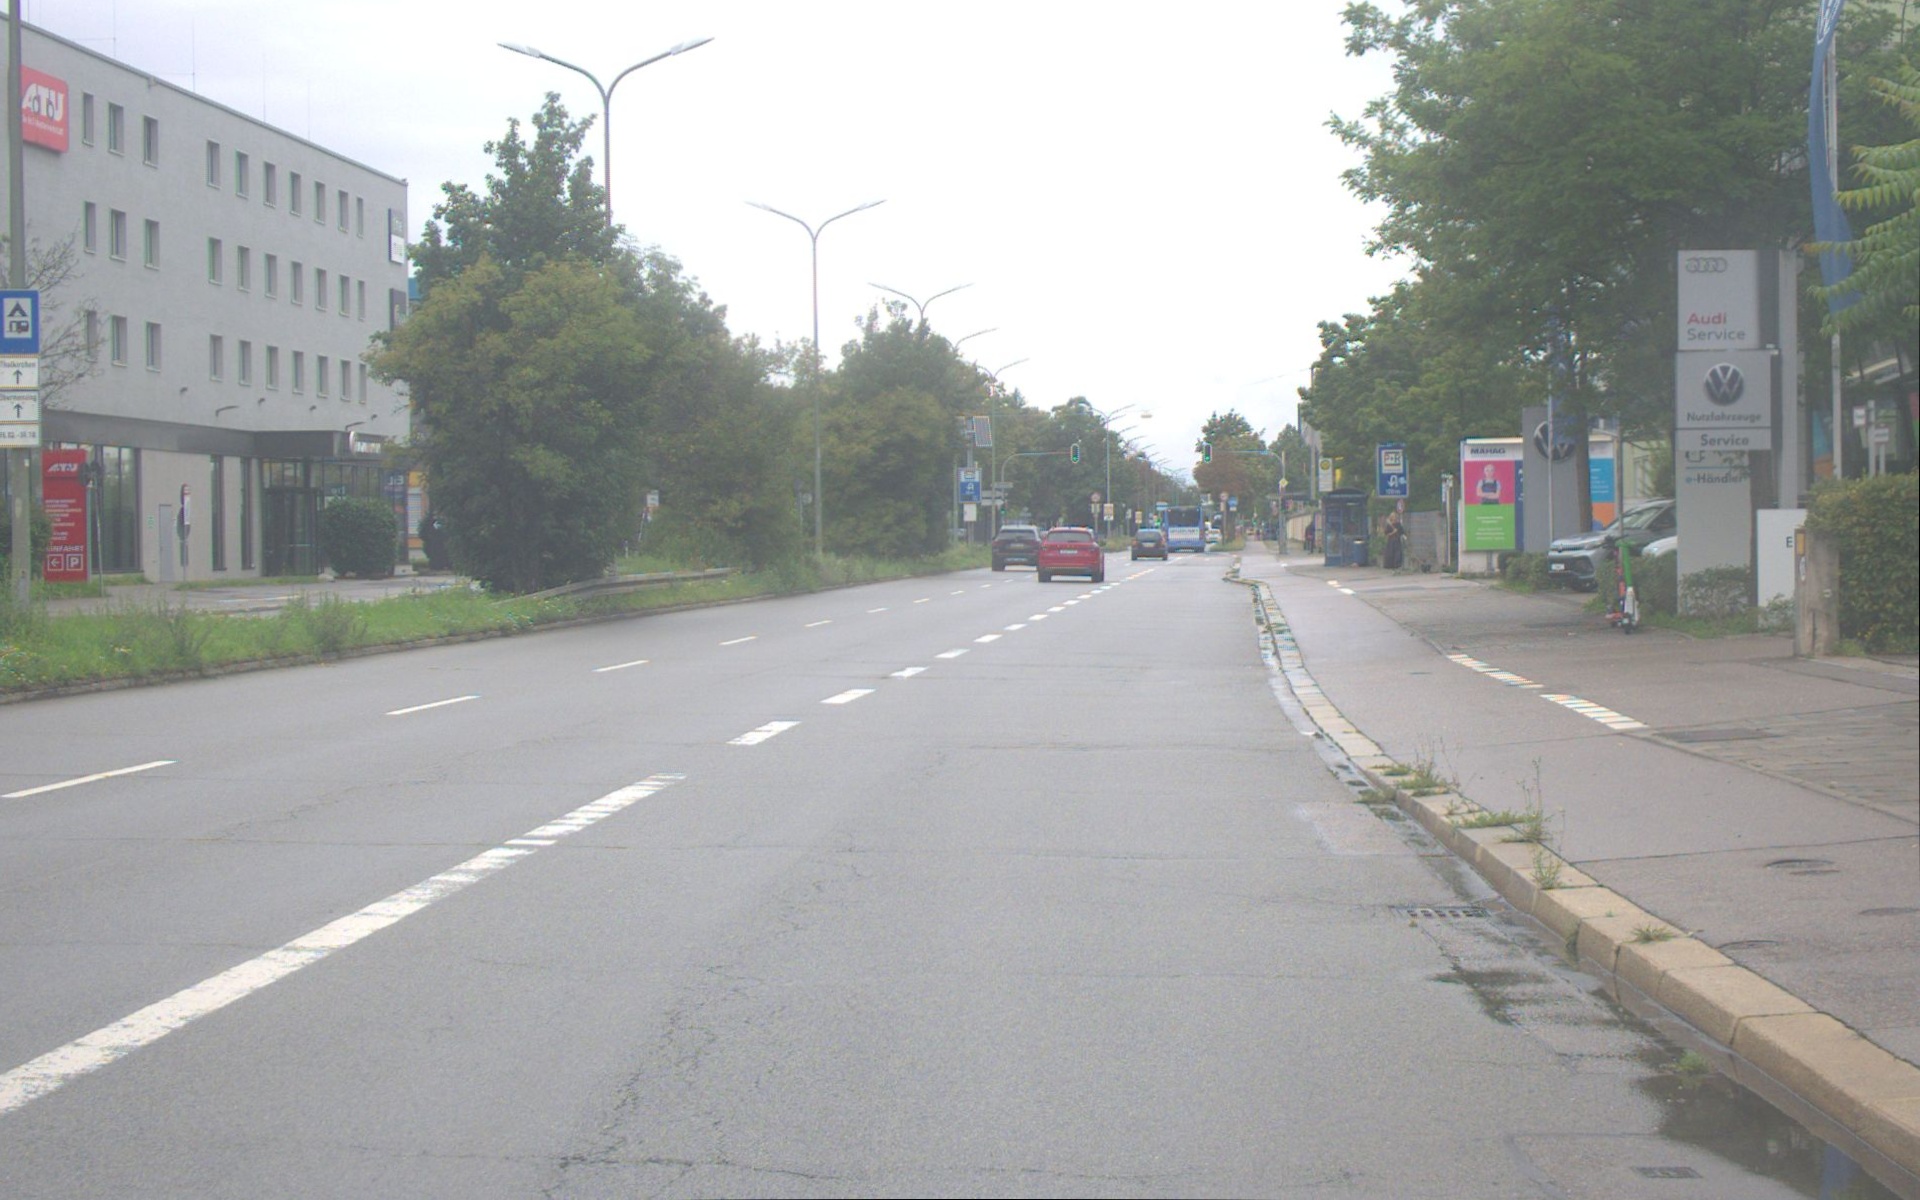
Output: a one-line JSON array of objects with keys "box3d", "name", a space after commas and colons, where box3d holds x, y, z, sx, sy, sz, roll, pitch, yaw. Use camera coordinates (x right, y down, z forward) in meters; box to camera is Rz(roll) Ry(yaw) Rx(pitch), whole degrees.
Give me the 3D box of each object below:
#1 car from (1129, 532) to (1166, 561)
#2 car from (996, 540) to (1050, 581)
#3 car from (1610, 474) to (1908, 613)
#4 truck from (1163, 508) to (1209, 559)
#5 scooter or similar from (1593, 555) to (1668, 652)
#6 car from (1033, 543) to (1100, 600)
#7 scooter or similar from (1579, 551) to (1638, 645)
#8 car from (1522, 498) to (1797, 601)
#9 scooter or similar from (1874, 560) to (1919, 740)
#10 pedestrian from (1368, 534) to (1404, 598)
[{"box3d": [9.450, -2.688, 173.442, 1.803, 1.428, 4.000, -1, 1, 3], "name": "car"}, {"box3d": [2.316, -1.451, 125.092, 1.803, 1.428, 4.000, -1, 1, 3], "name": "car"}, {"box3d": [12.938, -0.901, 55.716, 4.254, 2.007, 1.960, -3, 0, 29], "name": "car"}, {"box3d": [15.086, -4.453, 230.075, 2.969, 3.274, 7.915, -1, 1, 3], "name": "truck"}, {"box3d": [8.627, 0.043, 44.259, 0.496, 1.200, 1.430, -4, 1, -5], "name": "scooter or similar"}, {"box3d": [3.132, -0.834, 100.574, 1.862, 1.612, 4.000, 0, 1, 3], "name": "car"}, {"box3d": [8.765, -0.038, 46.474, 0.496, 1.200, 1.430, -4, 2, 2], "name": "scooter or similar"}, {"box3d": [13.124, -0.948, 64.574, 4.587, 1.701, 2.008, -3, 0, -16], "name": "car"}, {"box3d": [6.743, 0.334, 23.248, 0.397, 1.219, 1.640, -3, 0, -9], "name": "scooter or similar"}, {"box3d": [11.748, -0.939, 94.812, 0.758, 1.722, 0.895, -5, 1, 1], "name": "pedestrian"}]
